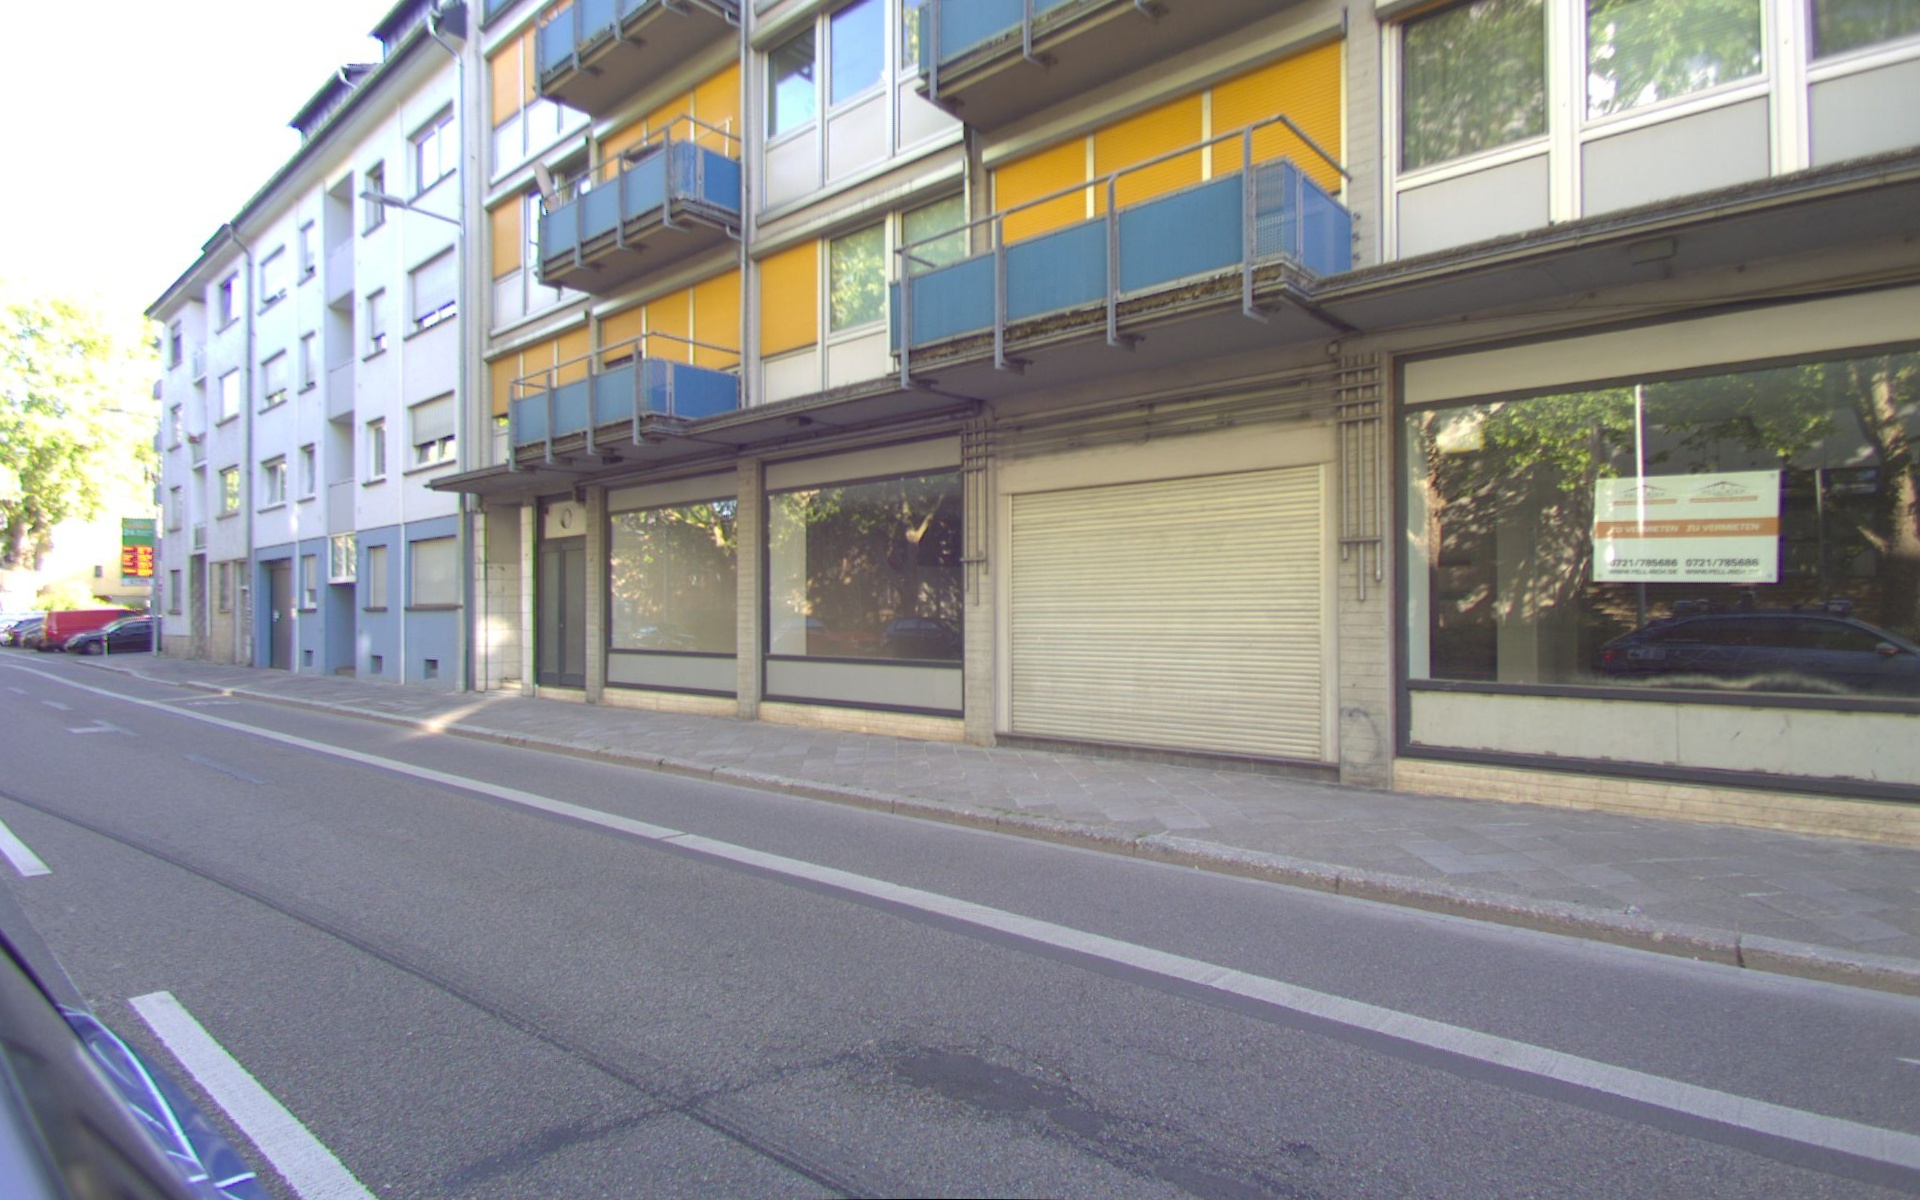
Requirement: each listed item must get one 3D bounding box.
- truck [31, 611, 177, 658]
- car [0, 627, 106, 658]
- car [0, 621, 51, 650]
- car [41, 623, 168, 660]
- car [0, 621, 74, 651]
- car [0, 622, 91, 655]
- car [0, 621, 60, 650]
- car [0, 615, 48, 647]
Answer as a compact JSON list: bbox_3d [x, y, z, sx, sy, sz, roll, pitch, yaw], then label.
[{"bbox_3d":[-40.360,1.582,47.838,1.998,2.036,5.024,-1,0,40],"label":"truck"},{"bbox_3d":[-43.522,2.017,48.259,1.904,1.282,3.983,-1,0,39],"label":"car"},{"bbox_3d":[-56.899,2.120,60.395,1.740,1.600,3.685,-1,0,35],"label":"car"},{"bbox_3d":[-36.911,1.752,43.745,1.780,1.404,3.947,-1,0,39],"label":"car"},{"bbox_3d":[-52.894,2.036,57.473,1.656,1.599,3.615,-1,0,35],"label":"car"},{"bbox_3d":[-50.832,2.091,55.969,1.699,1.640,3.952,-1,0,35],"label":"car"},{"bbox_3d":[-55.078,2.080,59.002,1.715,1.594,3.660,-1,0,35],"label":"car"},{"bbox_3d":[-59.739,1.966,63.807,1.693,1.953,3.224,-1,0,43],"label":"car"}]
